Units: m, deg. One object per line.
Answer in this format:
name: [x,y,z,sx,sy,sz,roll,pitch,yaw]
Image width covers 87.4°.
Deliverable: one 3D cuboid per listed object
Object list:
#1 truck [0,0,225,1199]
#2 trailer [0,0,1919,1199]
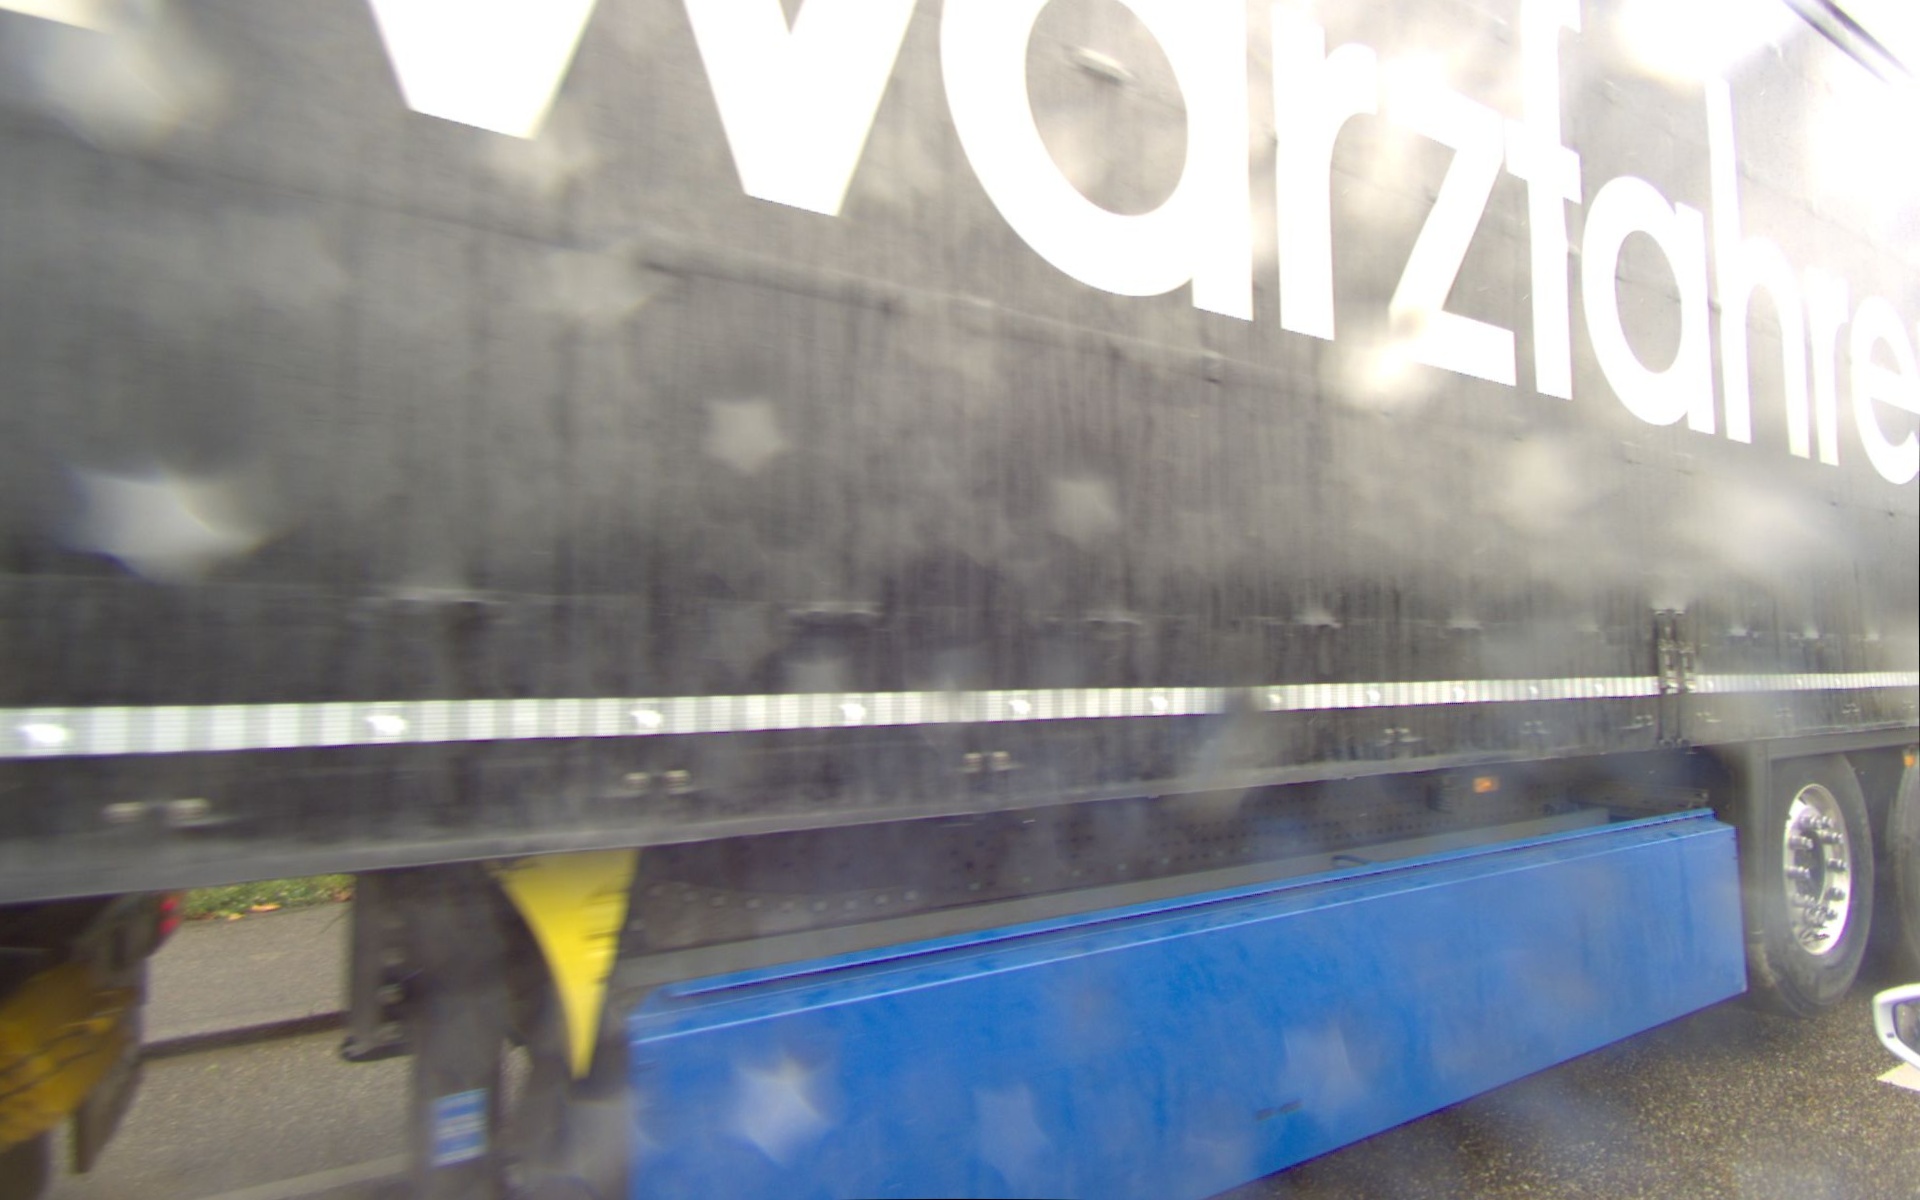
truck: [-4.426,-0.758,0.700,5.965,4.715,3.277,1,-2,-31]
trailer: [1.488,-0.508,4.340,13.578,4.715,3.277,1,-2,-32]
